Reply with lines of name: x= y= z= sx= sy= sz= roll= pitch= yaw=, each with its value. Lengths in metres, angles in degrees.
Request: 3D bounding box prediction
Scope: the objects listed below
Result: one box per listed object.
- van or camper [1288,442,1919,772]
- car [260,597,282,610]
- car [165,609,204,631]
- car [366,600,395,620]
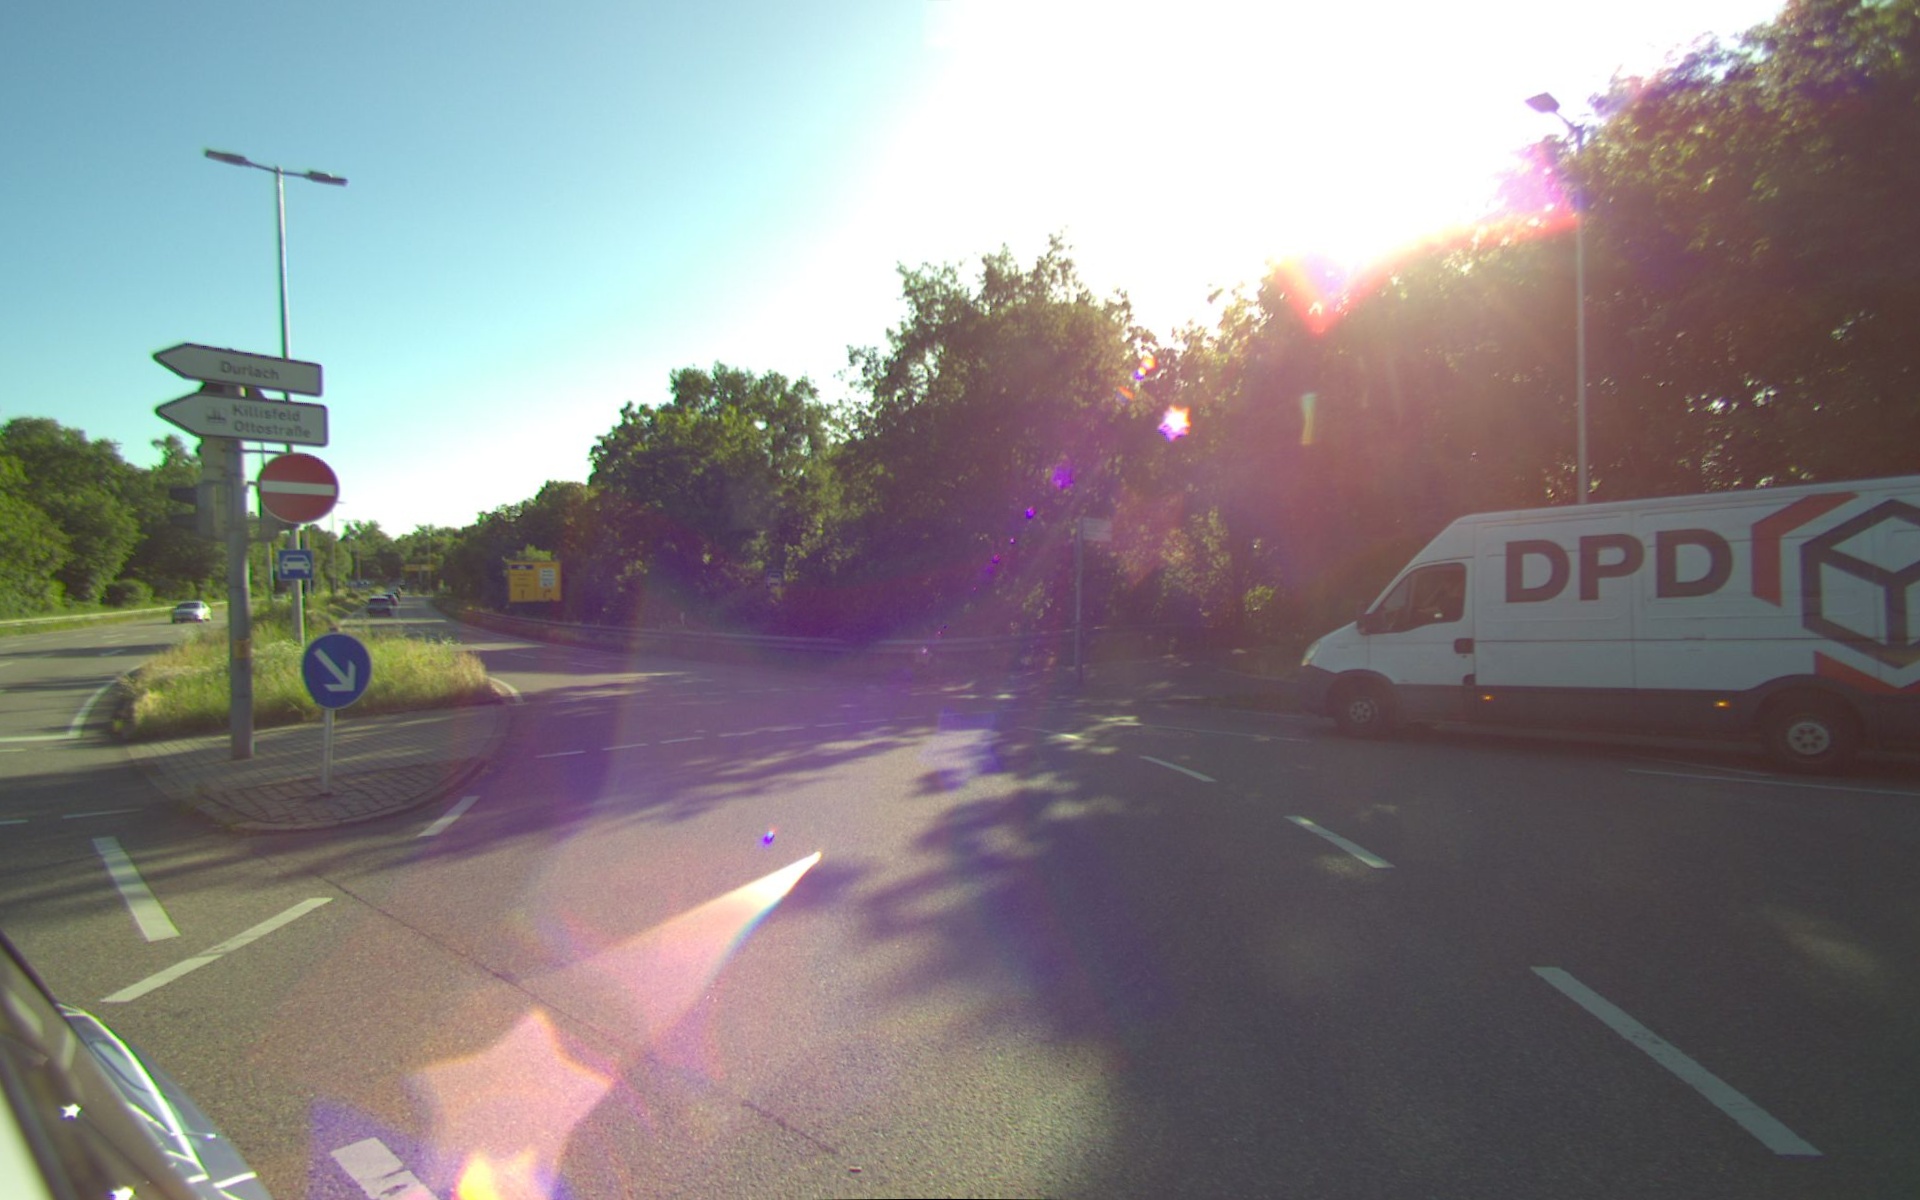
van or camper: x=7.094 y=0.105 z=10.375 sx=6.935 sy=2.693 sz=2.026 roll=-1 pitch=-2 yaw=44
car: x=-81.791 y=0.373 z=120.146 sx=1.879 sy=1.497 sz=3.354 roll=-1 pitch=0 yaw=-30
car: x=-53.146 y=1.352 z=69.419 sx=1.654 sy=1.497 sz=3.400 roll=-1 pitch=0 yaw=-30
car: x=-46.042 y=0.808 z=80.460 sx=1.859 sy=1.532 sz=4.230 roll=0 pitch=0 yaw=-29
